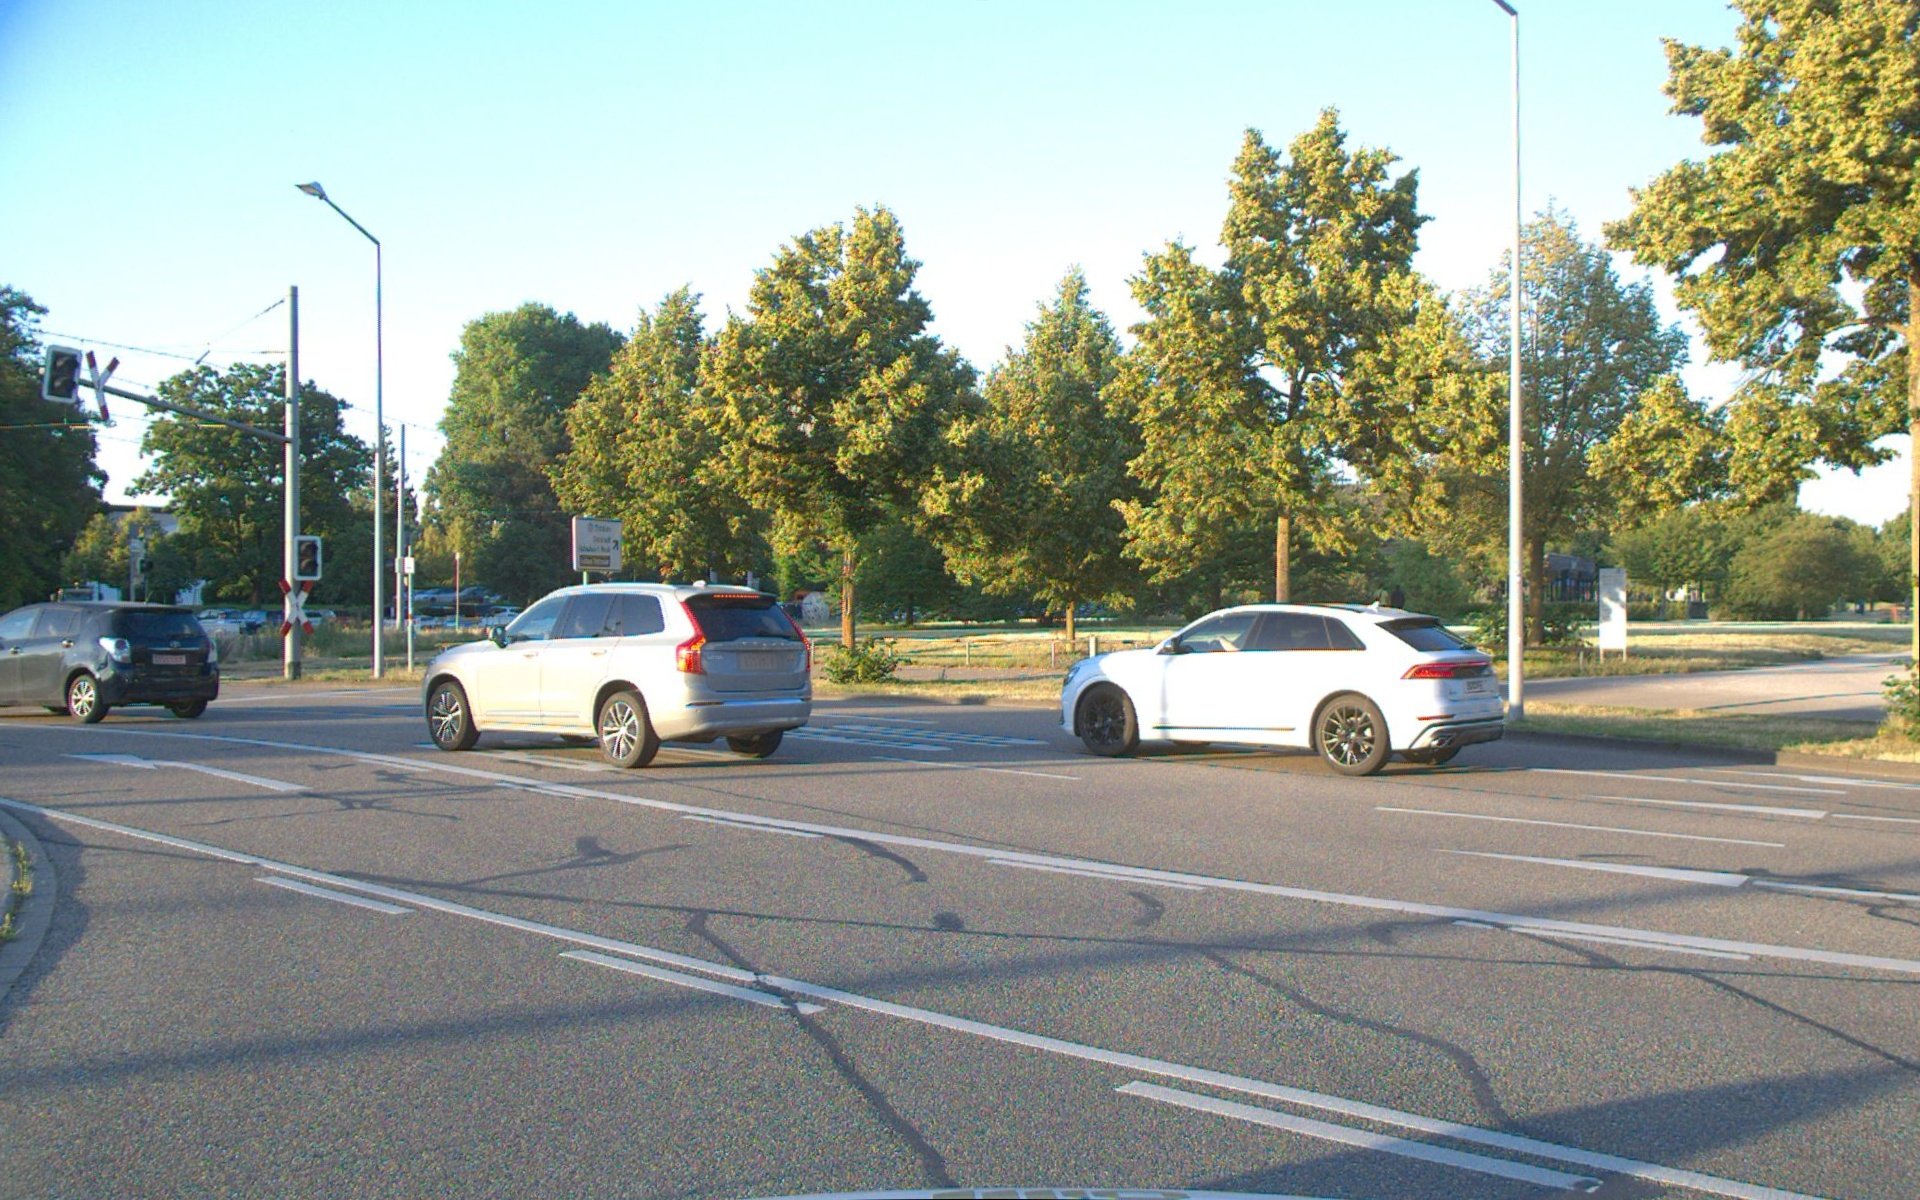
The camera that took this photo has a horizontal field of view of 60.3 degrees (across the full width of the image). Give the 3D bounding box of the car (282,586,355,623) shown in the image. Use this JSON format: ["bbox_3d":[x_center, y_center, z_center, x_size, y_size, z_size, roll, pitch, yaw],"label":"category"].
[{"bbox_3d":[-37.302,0.244,96.114,3.914,2.135,1.995,0,0,31],"label":"car"}]

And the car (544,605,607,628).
[{"bbox_3d":[-26.426,1.116,113.709,3.913,1.578,1.996,0,0,30],"label":"car"}]

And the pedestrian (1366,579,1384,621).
[{"bbox_3d":[16.625,-0.007,66.287,0.522,1.655,0.578,0,0,37],"label":"pedestrian"}]

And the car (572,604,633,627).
[{"bbox_3d":[-24.966,1.061,115.462,3.913,1.578,1.996,0,0,30],"label":"car"}]

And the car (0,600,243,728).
[{"bbox_3d":[-12.363,0.837,23.213,4.353,1.662,1.802,0,-1,26],"label":"car"}]

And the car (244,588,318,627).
[{"bbox_3d":[-38.382,0.418,93.500,3.914,2.135,1.995,0,0,31],"label":"car"}]

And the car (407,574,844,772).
[{"bbox_3d":[-3.599,0.684,17.255,4.830,1.785,1.912,0,-1,40],"label":"car"}]

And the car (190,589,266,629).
[{"bbox_3d":[-40.215,0.484,90.842,3.914,2.135,1.995,0,0,31],"label":"car"}]

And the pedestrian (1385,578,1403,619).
[{"bbox_3d":[17.352,-0.063,66.163,0.519,1.655,0.618,0,0,34],"label":"pedestrian"}]

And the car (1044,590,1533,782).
[{"bbox_3d":[3.367,0.776,17.636,4.852,1.740,1.902,1,1,42],"label":"car"}]

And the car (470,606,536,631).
[{"bbox_3d":[-29.667,1.205,107.465,3.913,1.578,1.996,0,0,30],"label":"car"}]
